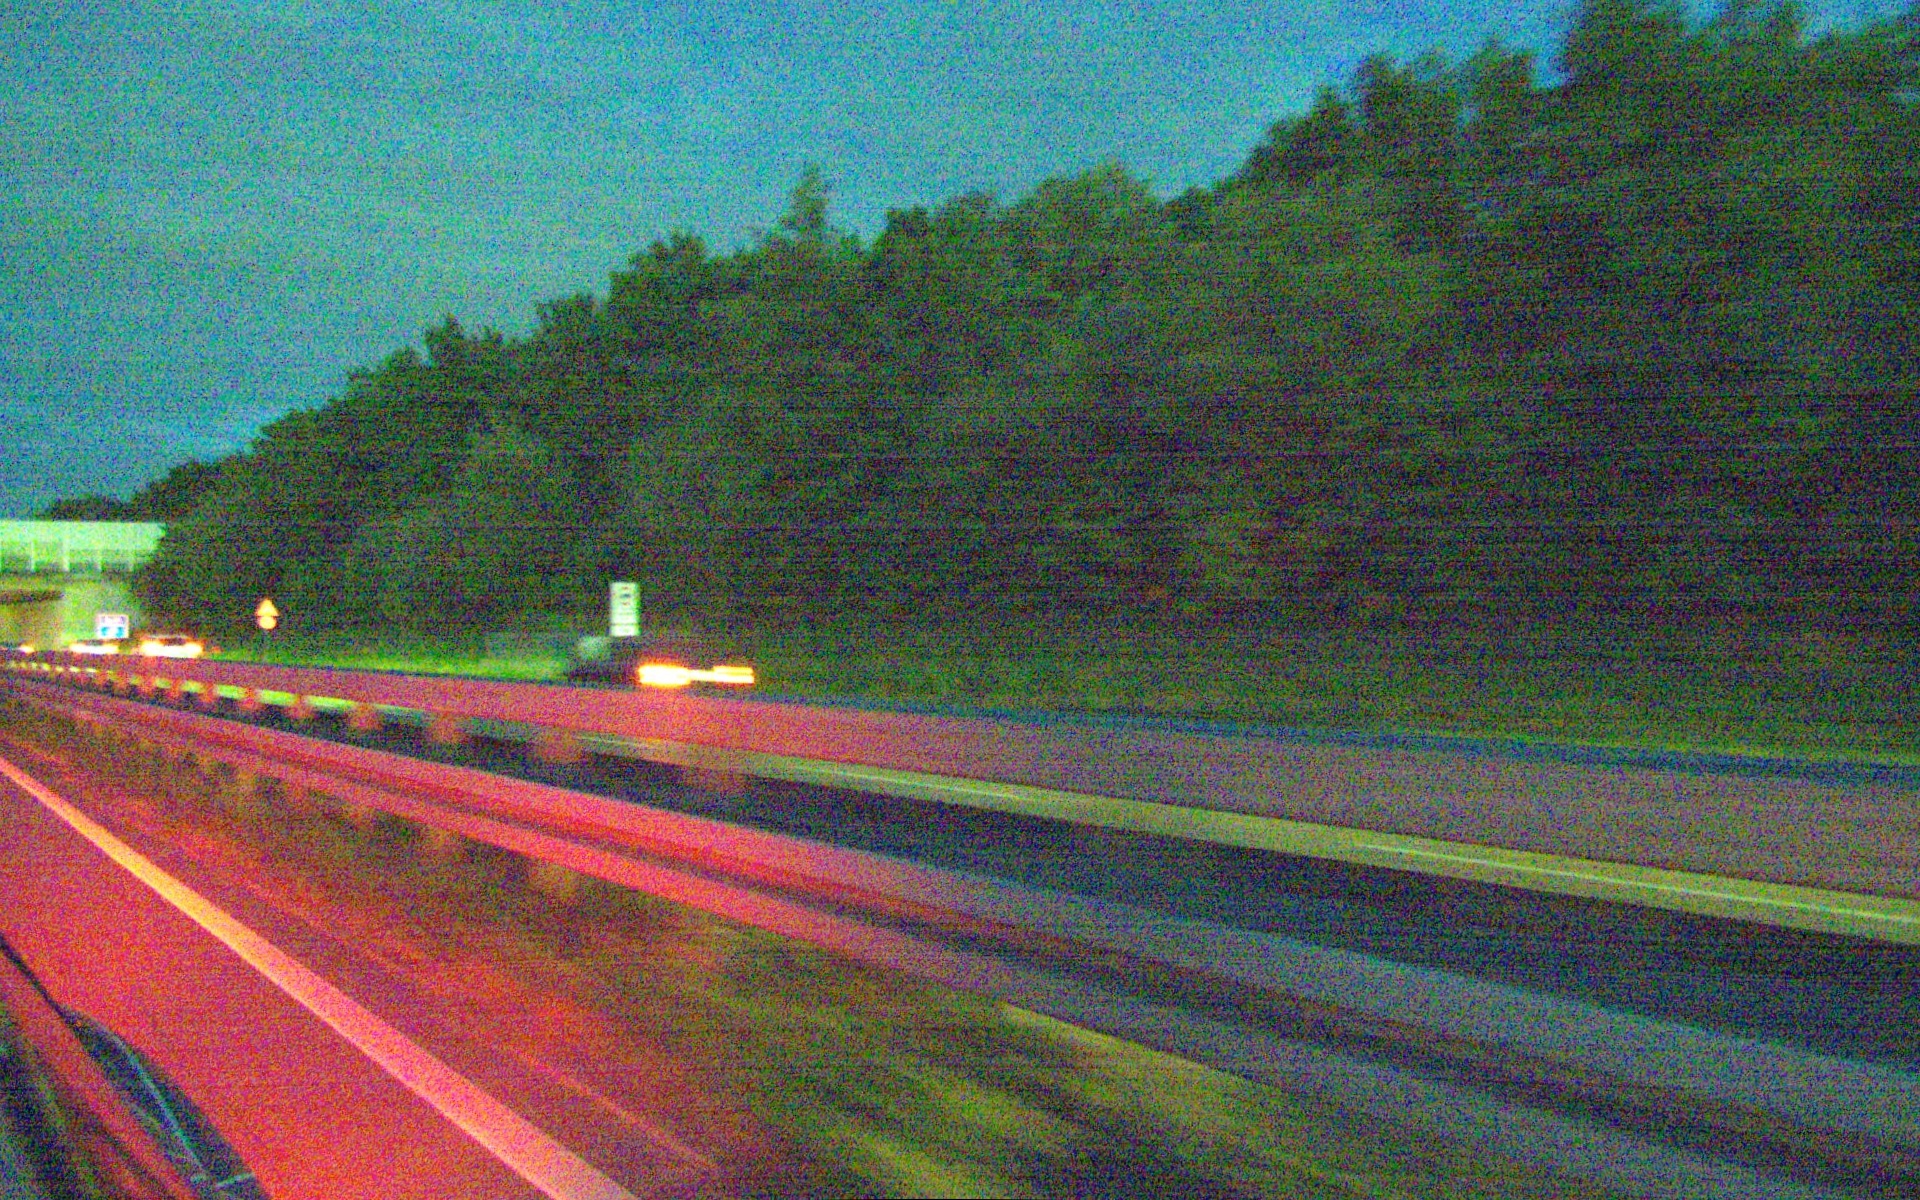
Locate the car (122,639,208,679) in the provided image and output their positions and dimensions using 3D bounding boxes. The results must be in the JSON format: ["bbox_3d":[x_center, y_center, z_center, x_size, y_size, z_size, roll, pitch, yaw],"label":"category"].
[{"bbox_3d":[-35.009,2.536,44.535,4.695,1.643,2.099,-2,-2,41],"label":"car"}]

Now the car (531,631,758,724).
[{"bbox_3d":[-5.896,1.348,18.602,4.699,1.498,1.932,-2,-4,43],"label":"car"}]

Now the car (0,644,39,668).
[{"bbox_3d":[-64.137,3.762,68.261,4.690,1.565,2.102,-2,-2,37],"label":"car"}]

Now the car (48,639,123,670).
[{"bbox_3d":[-46.732,2.875,54.051,4.690,1.565,2.102,-2,-2,37],"label":"car"}]
